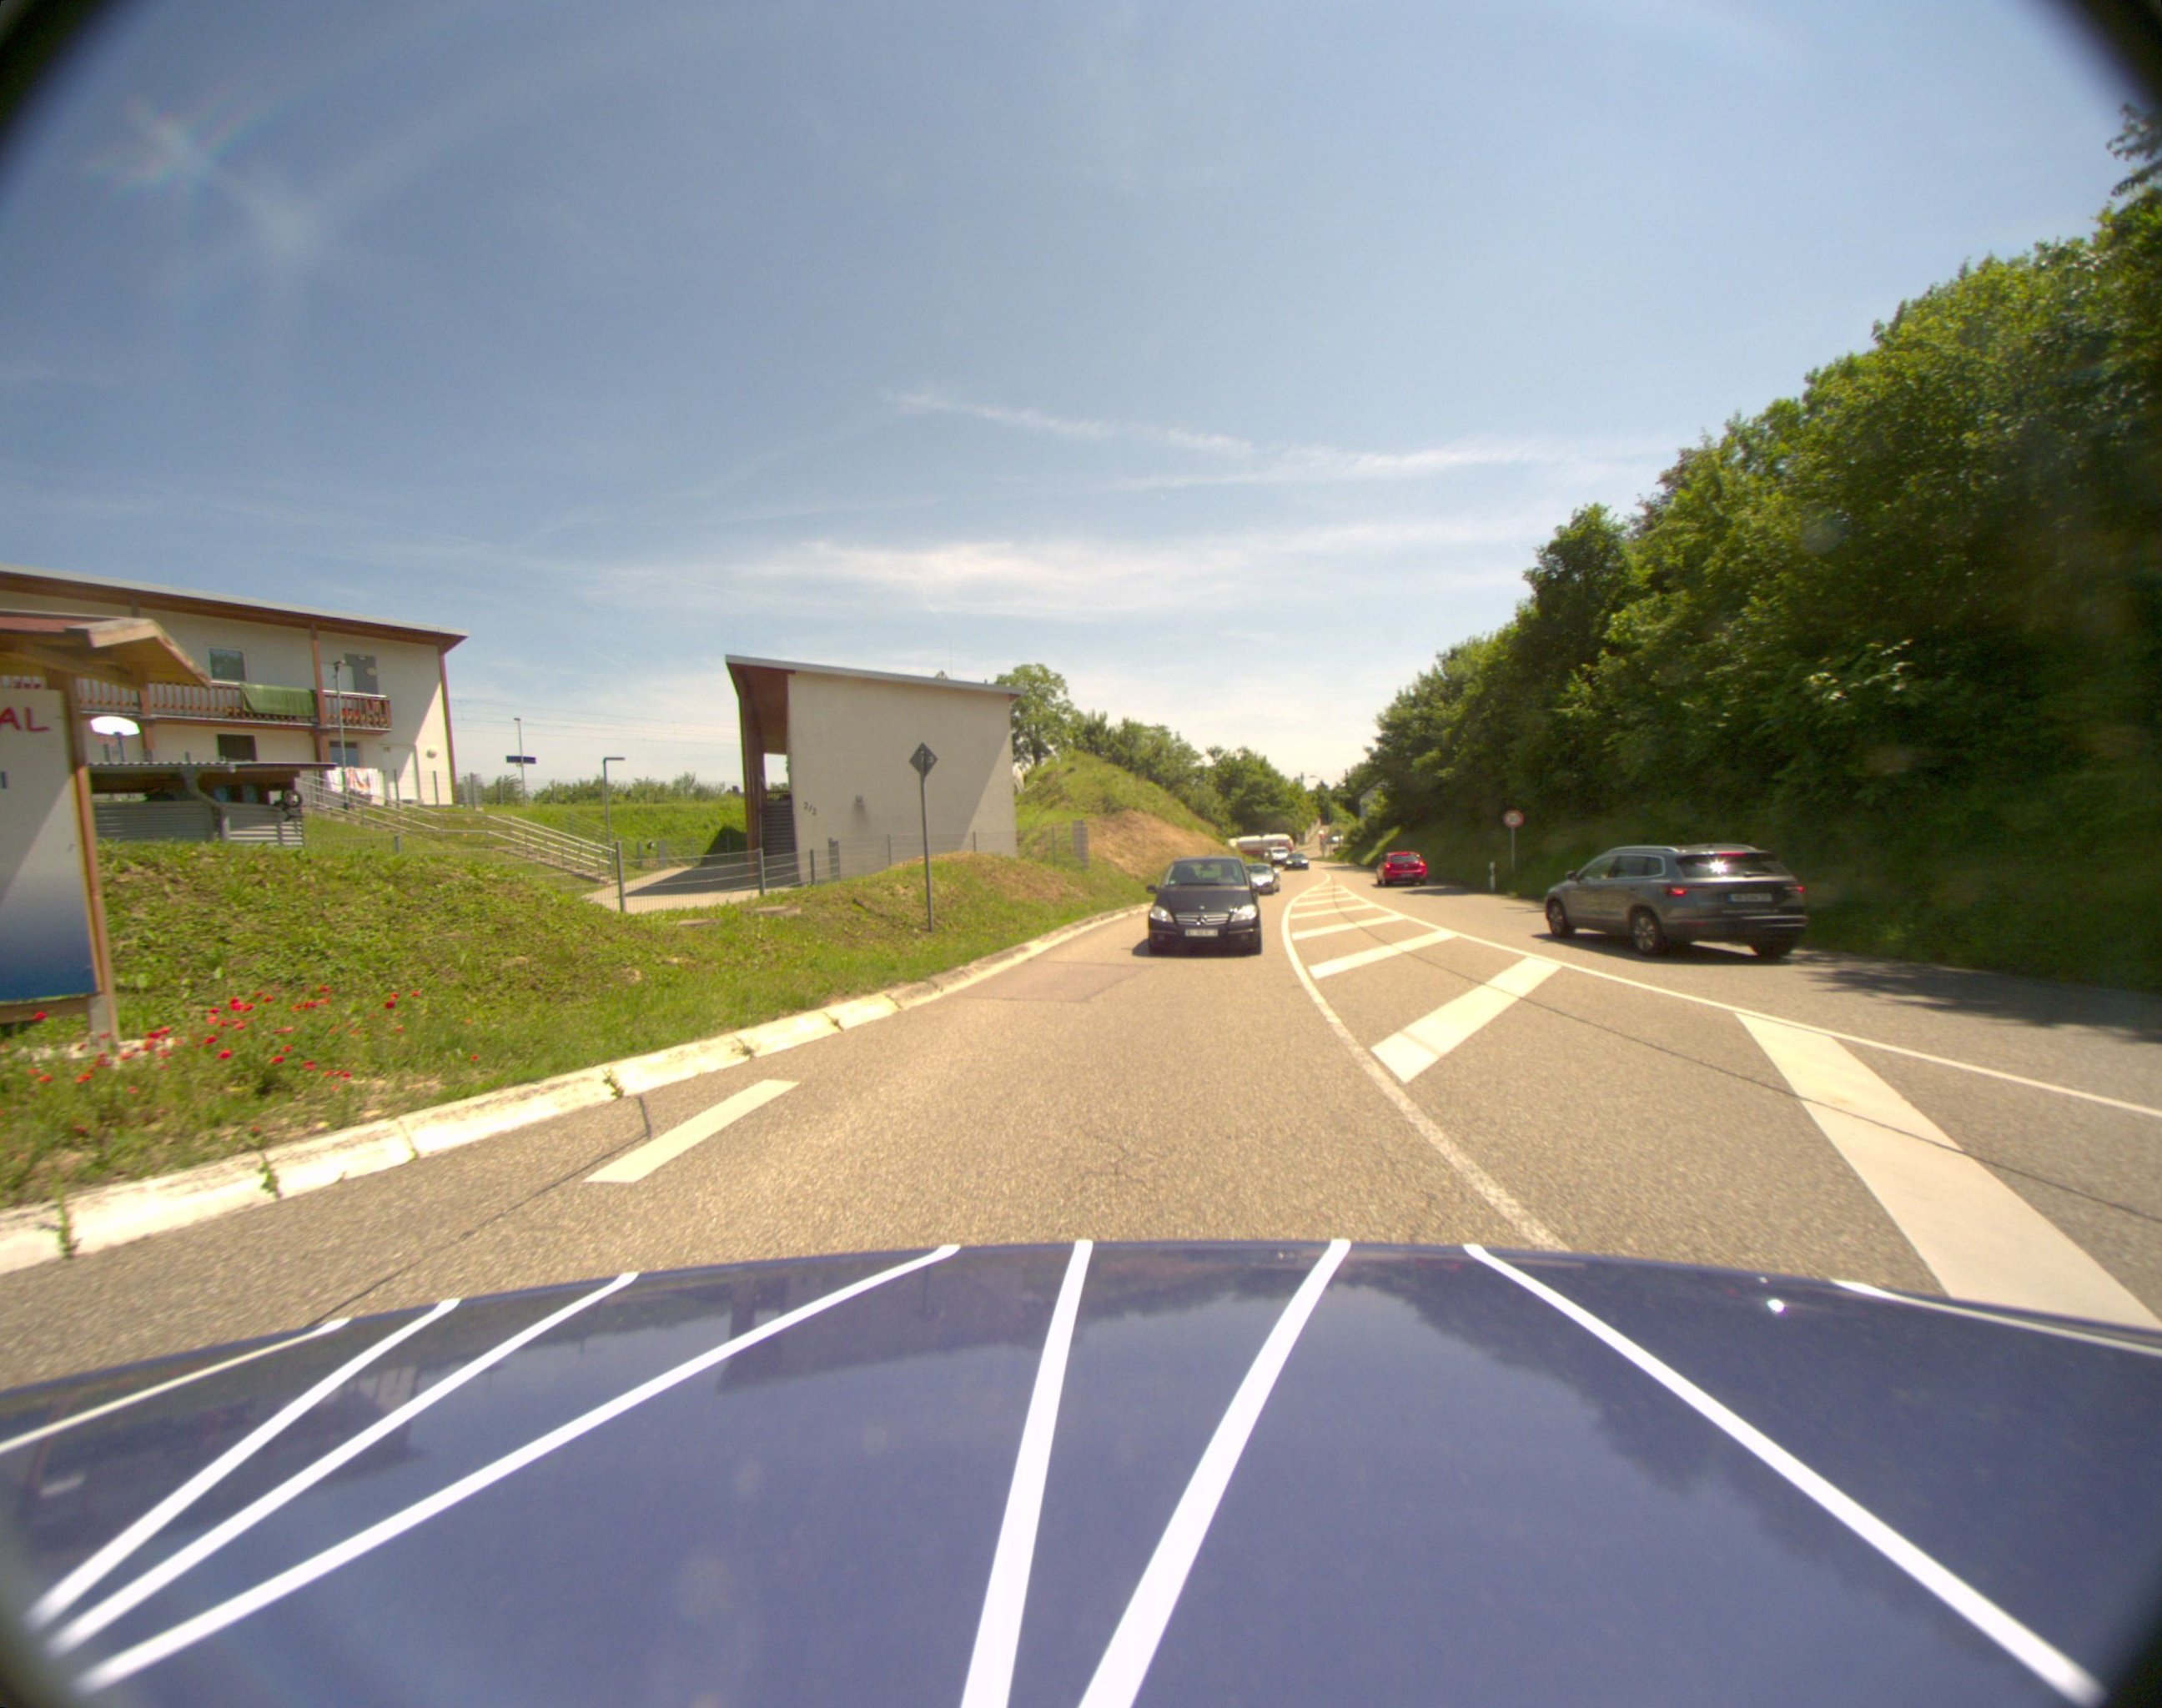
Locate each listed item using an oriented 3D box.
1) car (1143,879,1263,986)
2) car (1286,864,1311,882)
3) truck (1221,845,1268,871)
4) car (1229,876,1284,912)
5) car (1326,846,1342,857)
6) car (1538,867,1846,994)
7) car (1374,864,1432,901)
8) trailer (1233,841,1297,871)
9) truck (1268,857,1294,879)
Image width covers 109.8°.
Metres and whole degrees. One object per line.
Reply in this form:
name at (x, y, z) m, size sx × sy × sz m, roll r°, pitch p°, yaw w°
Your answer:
car at (2.288, 1.268, 13.482) m, size 1.794 × 1.570 × 3.804 m, roll -1°, pitch -1°, yaw 13°
car at (17.530, 1.530, 61.418) m, size 1.753 × 1.280 × 4.150 m, roll -3°, pitch -1°, yaw 15°
truck at (21.180, 0.524, 98.911) m, size 2.636 × 3.152 × 7.058 m, roll -3°, pitch 0°, yaw -18°
car at (7.169, 1.568, 30.854) m, size 1.645 × 1.314 × 3.444 m, roll 0°, pitch -1°, yaw 22°
car at (42.650, -0.409, 127.993) m, size 1.995 × 1.498 × 4.004 m, roll -4°, pitch 3°, yaw 25°
car at (9.129, 1.029, 11.901) m, size 1.795 × 1.595 × 4.182 m, roll -1°, pitch -1°, yaw 7°
car at (13.933, 1.209, 33.080) m, size 1.752 × 1.439 × 4.005 m, roll -2°, pitch -1°, yaw 15°
trailer at (22.523, 0.362, 93.781) m, size 2.643 × 3.353 × 11.129 m, roll -3°, pitch 0°, yaw -15°
truck at (19.893, 1.345, 75.743) m, size 2.069 × 2.001 × 5.249 m, roll -3°, pitch -1°, yaw 11°
